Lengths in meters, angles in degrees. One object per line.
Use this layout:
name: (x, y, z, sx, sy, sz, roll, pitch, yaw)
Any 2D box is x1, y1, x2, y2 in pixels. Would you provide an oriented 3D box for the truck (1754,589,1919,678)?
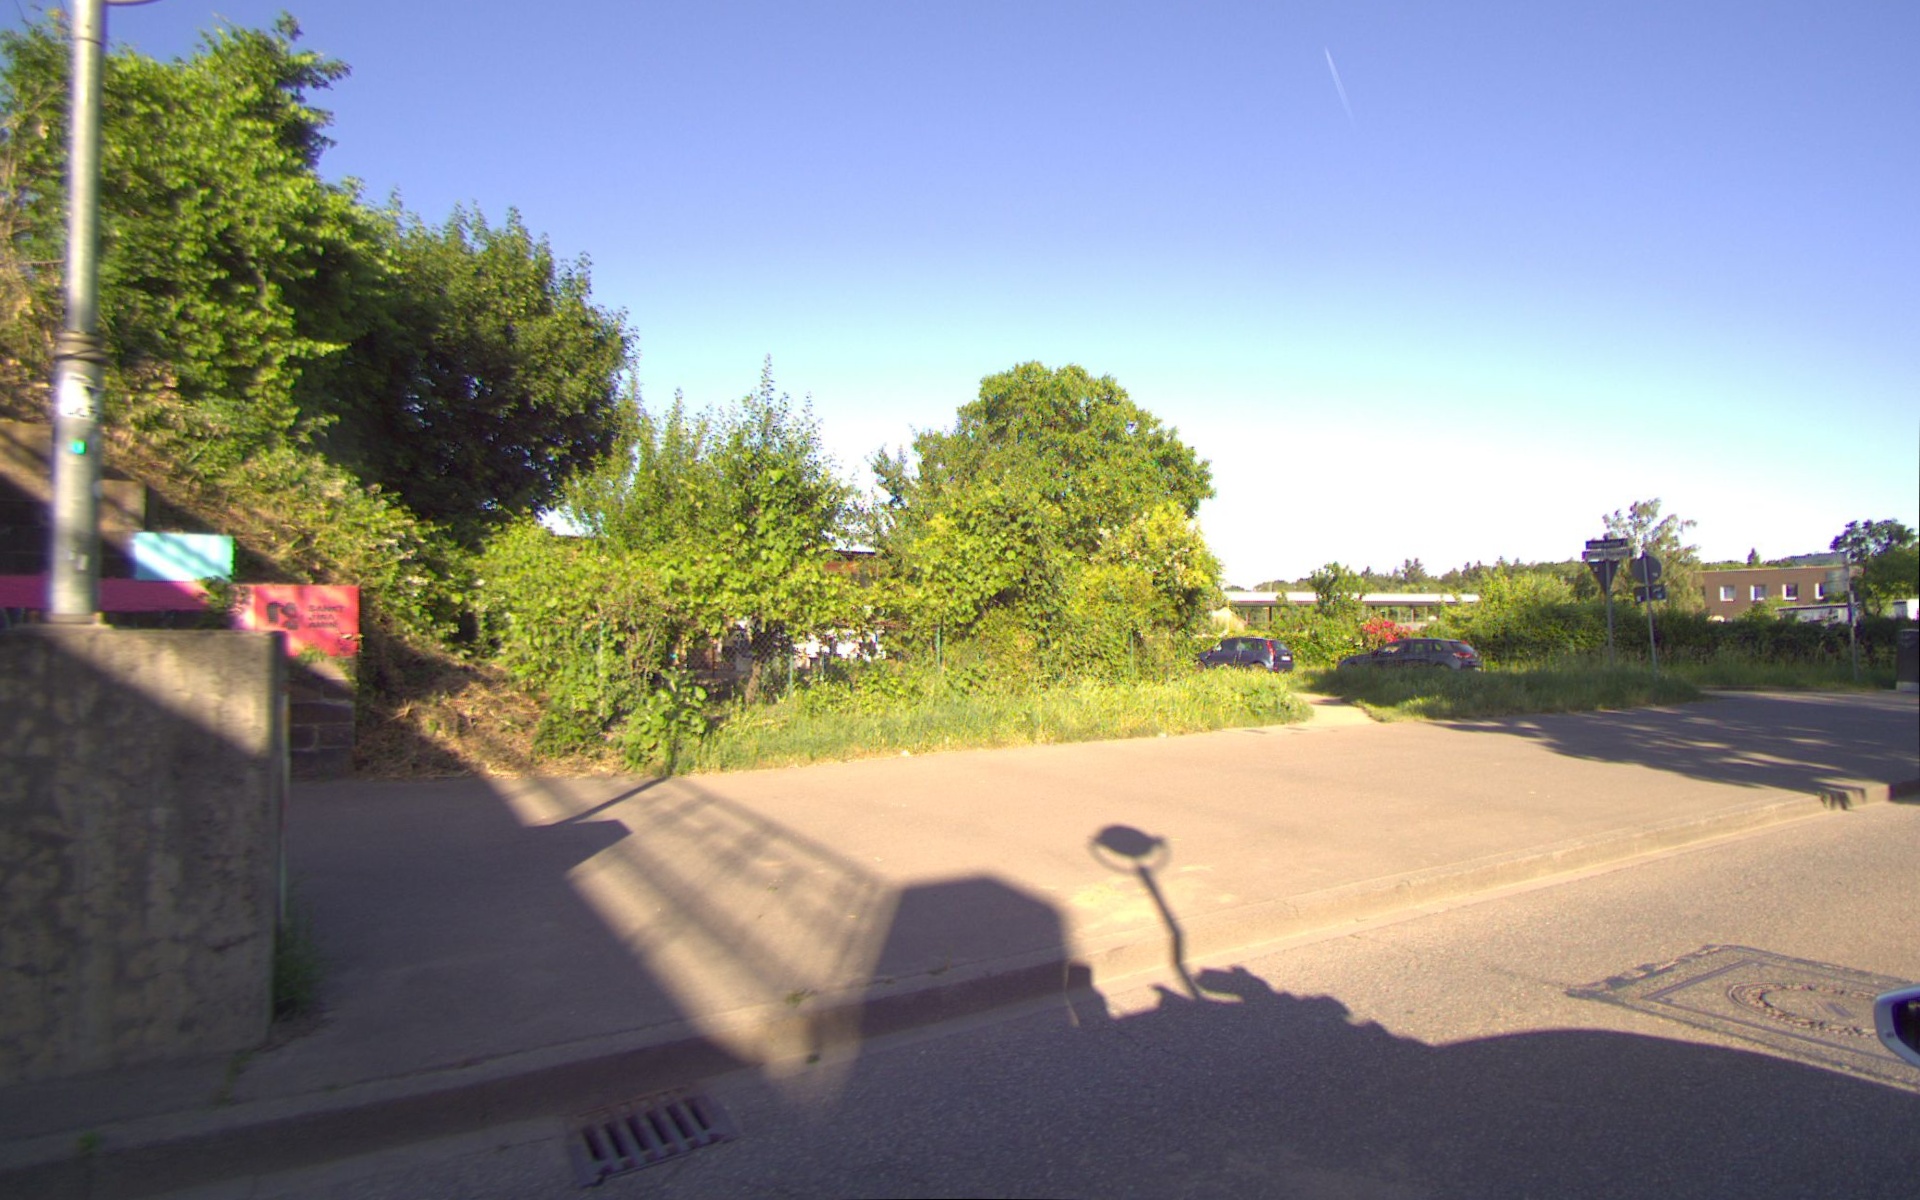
truck: (43.822, 1.733, 49.080, 2.658, 3.933, 9.337, 2, -3, 0)

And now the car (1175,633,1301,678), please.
car: (9.917, 1.966, 36.014, 1.875, 1.466, 3.988, 5, -5, -42)

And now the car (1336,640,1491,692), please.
car: (13.973, 2.012, 31.080, 1.875, 1.466, 3.988, 5, -5, -42)
